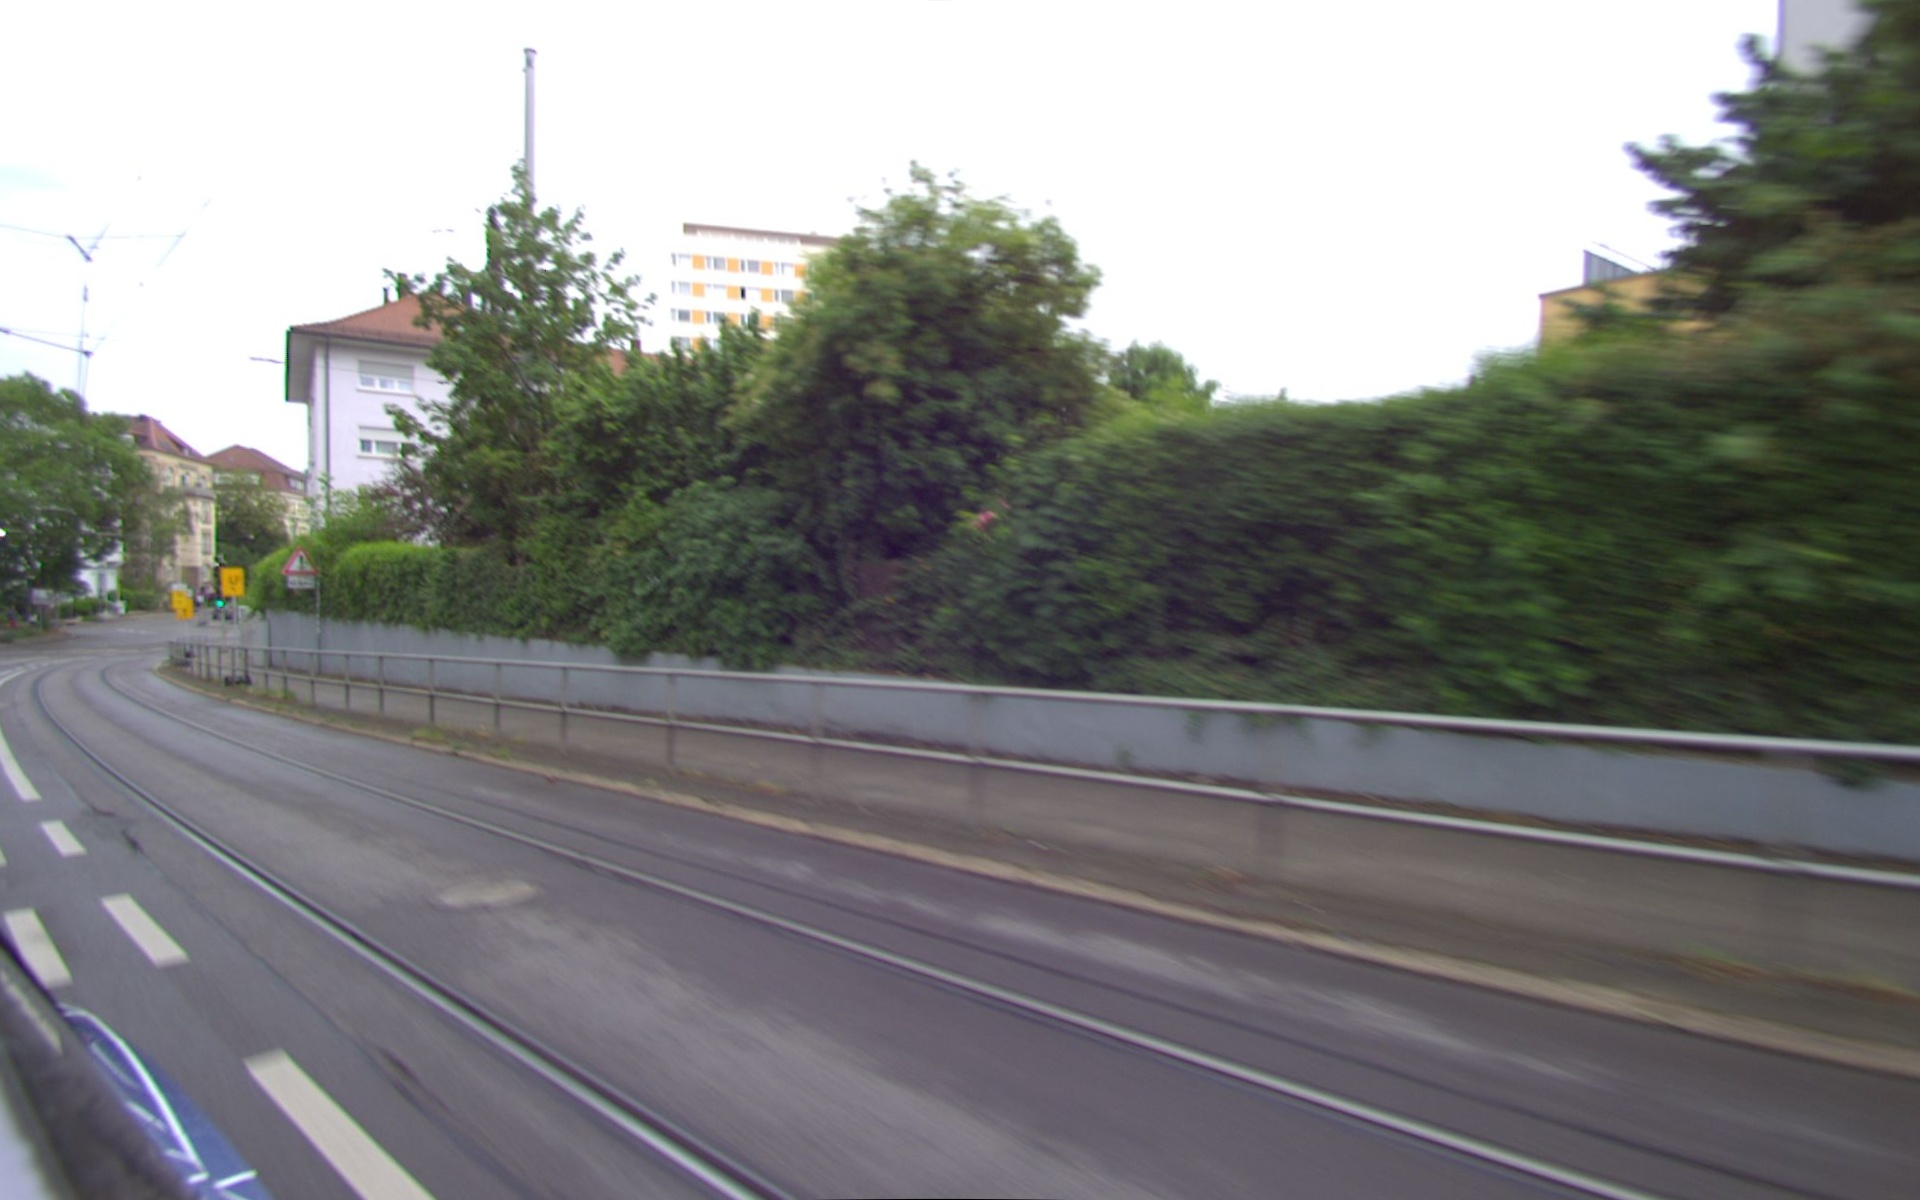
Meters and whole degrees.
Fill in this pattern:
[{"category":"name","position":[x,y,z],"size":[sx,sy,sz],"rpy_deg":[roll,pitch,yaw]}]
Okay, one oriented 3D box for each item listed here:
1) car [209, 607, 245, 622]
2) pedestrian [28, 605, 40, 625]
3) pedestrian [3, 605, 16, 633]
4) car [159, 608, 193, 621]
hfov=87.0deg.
[{"category":"car","position":[-71.415,1.398,98.666],"size":[1.665,1.453,3.816],"rpy_deg":[2,-1,-18]},{"category":"pedestrian","position":[-69.513,1.113,75.989],"size":[0.532,1.518,0.385],"rpy_deg":[2,-1,3]},{"category":"pedestrian","position":[-66.826,1.318,71.156],"size":[0.534,1.937,0.919],"rpy_deg":[2,0,-36]},{"category":"car","position":[-85.344,1.603,110.222],"size":[1.573,1.351,3.644],"rpy_deg":[0,-3,-15]}]
